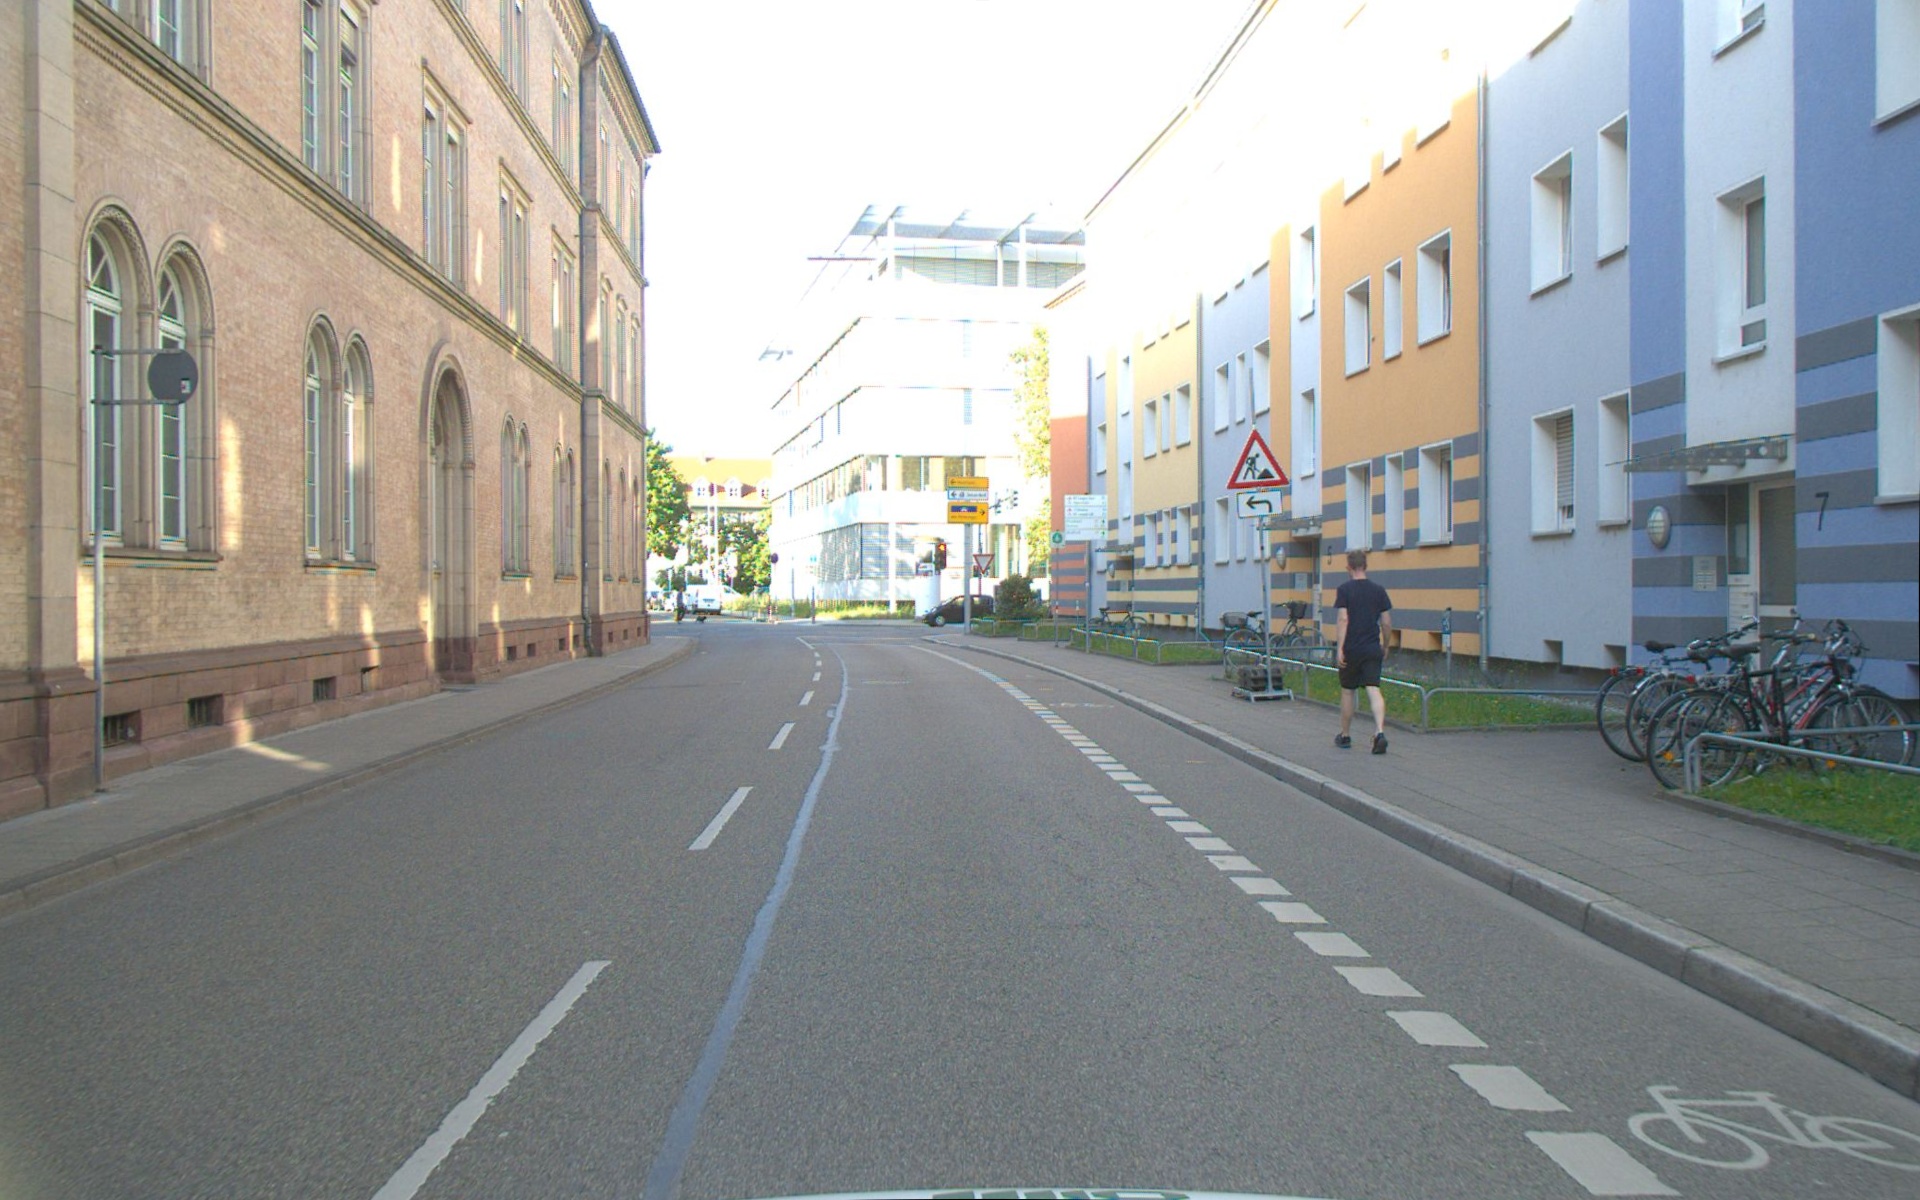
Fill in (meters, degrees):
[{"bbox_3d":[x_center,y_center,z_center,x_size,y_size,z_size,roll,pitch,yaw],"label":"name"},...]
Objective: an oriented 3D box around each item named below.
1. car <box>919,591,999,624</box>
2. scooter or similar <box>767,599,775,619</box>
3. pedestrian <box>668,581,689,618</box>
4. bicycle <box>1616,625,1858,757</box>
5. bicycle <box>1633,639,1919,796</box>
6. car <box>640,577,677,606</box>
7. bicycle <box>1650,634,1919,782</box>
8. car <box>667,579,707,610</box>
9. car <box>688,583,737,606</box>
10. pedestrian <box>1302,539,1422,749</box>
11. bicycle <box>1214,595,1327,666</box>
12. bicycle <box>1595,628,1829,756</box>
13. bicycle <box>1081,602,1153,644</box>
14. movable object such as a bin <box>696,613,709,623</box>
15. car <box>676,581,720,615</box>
[{"bbox_3d":[-0.044,0.350,76.234,3.373,1.471,1.767,0,0,-15],"label":"car"},{"bbox_3d":[-10.322,0.494,90.423,0.319,1.078,1.138,0,0,-14],"label":"scooter or similar"},{"bbox_3d":[-13.845,-0.015,81.404,0.911,1.790,0.844,2,-1,-16],"label":"pedestrian"},{"bbox_3d":[5.992,0.694,12.778,1.713,0.963,0.325,-1,0,-2],"label":"bicycle"},{"bbox_3d":[5.428,0.761,10.954,1.713,0.963,0.551,-1,0,-3],"label":"bicycle"},{"bbox_3d":[-23.709,-0.642,129.887,2.292,2.149,4.983,2,-1,-16],"label":"car"},{"bbox_3d":[5.813,0.741,11.594,1.713,0.963,0.551,-1,0,-3],"label":"bicycle"},{"bbox_3d":[-19.946,-0.381,120.671,2.292,2.149,4.983,2,-1,-16],"label":"car"},{"bbox_3d":[-22.026,-0.469,147.041,3.937,1.949,1.904,2,-1,-26],"label":"car"},{"bbox_3d":[3.609,0.380,14.929,0.683,1.790,1.188,-3,0,-2],"label":"pedestrian"},{"bbox_3d":[5.192,0.511,27.710,1.774,1.157,0.551,-1,0,-4],"label":"bicycle"},{"bbox_3d":[5.971,0.722,13.155,1.713,0.963,0.335,-1,0,-3],"label":"bicycle"},{"bbox_3d":[3.966,0.578,41.815,1.720,1.021,0.612,-2,0,-7],"label":"bicycle"},{"bbox_3d":[-12.782,0.897,82.132,0.580,0.489,0.285,0,0,-19],"label":"movable object such as a bin"},{"bbox_3d":[-17.337,-0.119,109.400,2.383,2.149,5.212,2,-1,-14],"label":"car"}]
